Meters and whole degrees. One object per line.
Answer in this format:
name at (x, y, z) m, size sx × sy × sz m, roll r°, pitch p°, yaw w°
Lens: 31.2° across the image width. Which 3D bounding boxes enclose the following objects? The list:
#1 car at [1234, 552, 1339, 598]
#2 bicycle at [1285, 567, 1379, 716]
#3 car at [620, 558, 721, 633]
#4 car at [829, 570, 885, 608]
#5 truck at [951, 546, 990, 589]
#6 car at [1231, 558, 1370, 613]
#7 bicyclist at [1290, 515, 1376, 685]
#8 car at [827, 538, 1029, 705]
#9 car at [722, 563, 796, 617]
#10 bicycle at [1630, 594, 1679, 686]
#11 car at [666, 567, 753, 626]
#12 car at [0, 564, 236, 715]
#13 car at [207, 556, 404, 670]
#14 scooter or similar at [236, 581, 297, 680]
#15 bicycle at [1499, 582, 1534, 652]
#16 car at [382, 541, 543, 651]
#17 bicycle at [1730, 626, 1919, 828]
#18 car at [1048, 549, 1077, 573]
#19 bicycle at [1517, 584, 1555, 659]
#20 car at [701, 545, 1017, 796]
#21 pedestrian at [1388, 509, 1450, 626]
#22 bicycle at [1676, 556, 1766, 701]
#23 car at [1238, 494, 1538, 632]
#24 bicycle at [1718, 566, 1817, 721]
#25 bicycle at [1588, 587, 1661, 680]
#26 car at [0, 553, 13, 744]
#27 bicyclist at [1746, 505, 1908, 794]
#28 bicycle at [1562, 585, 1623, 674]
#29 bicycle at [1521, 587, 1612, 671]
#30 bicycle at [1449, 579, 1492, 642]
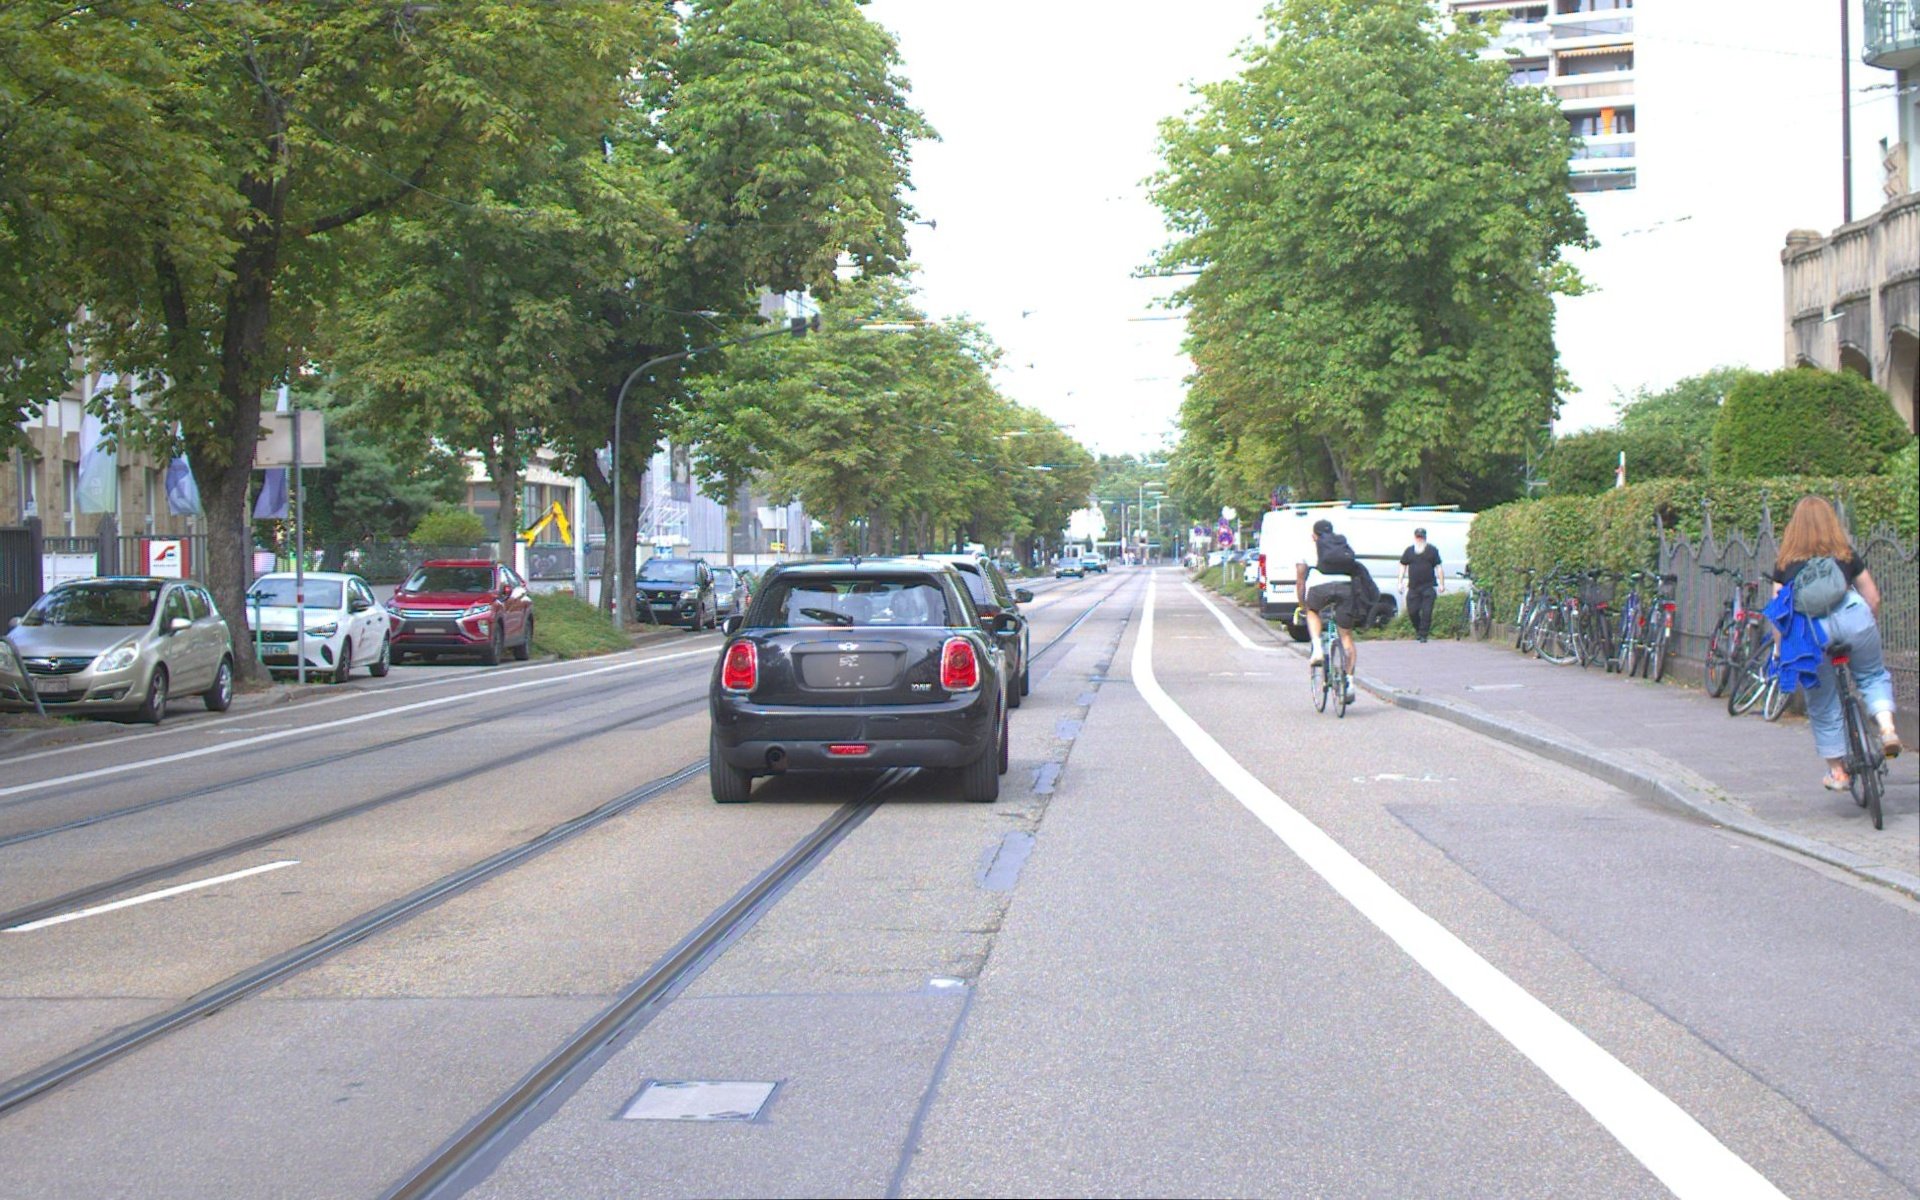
car at (11.323, -0.863, 119.207) m, size 3.436 × 1.567 × 1.560 m, roll -1°, pitch 1°, yaw -35°
bicycle at (3.245, 0.338, 30.106) m, size 0.657 × 1.244 × 2.125 m, roll 0°, pitch 1°, yaw 2°
car at (-6.506, -0.125, 77.613) m, size 1.756 × 1.641 × 4.052 m, roll 0°, pitch 1°, yaw 3°
car at (-3.884, -0.424, 130.248) m, size 1.802 × 1.369 × 4.031 m, roll -2°, pitch 0°, yaw 3°
truck at (0.632, -1.908, 203.768) m, size 2.071 × 2.462 × 4.898 m, roll -2°, pitch 0°, yaw 3°
car at (9.202, -0.398, 92.658) m, size 3.818 × 1.455 × 1.639 m, roll 0°, pitch 0°, yaw -44°
bicyclist at (3.260, -0.007, 30.111) m, size 0.657 × 1.458 × 1.178 m, roll 0°, pitch 1°, yaw 2°
car at (-0.284, 0.173, 33.041) m, size 1.793 × 1.465 × 4.000 m, roll 1°, pitch 1°, yaw 0°
car at (-5.623, -0.294, 96.638) m, size 1.693 × 1.482 × 3.677 m, roll 0°, pitch 1°, yaw 3°
bicycle at (6.604, 0.376, 32.714) m, size 0.278 × 0.849 × 1.198 m, roll -2°, pitch 0°, yaw 4°
car at (-6.127, -0.104, 84.376) m, size 1.693 × 1.422 × 3.868 m, roll 0°, pitch 1°, yaw 3°
car at (-8.808, 0.364, 35.524) m, size 1.600 × 1.463 × 4.079 m, roll 0°, pitch 1°, yaw 3°
car at (-8.788, 0.146, 46.461) m, size 1.721 × 1.419 × 4.023 m, roll 2°, pitch 1°, yaw 2°
scooter or similar at (-8.791, 0.377, 43.565) m, size 0.561 × 1.218 × 1.324 m, roll -1°, pitch 1°, yaw -20°
bicycle at (7.383, 0.223, 45.620) m, size 0.386 × 0.904 × 1.664 m, roll -2°, pitch 0°, yaw 8°
car at (-7.919, -0.082, 55.127) m, size 1.721 × 1.649 × 4.542 m, roll 2°, pitch 1°, yaw 2°
bicycle at (4.594, 0.647, 18.356) m, size 0.688 × 0.959 × 2.036 m, roll -1°, pitch 1°, yaw 6°
car at (7.152, -2.742, 239.496) m, size 1.895 × 1.622 × 4.000 m, roll 0°, pitch 1°, yaw 0°
bicycle at (7.138, 0.261, 42.640) m, size 0.386 × 0.904 × 1.664 m, roll -2°, pitch 0°, yaw 8°
car at (-0.543, 0.379, 21.524) m, size 1.793 × 1.418 × 4.000 m, roll 0°, pitch 1°, yaw 1°
pedestrian at (7.020, -0.500, 52.645) m, size 0.785 × 1.727 × 0.896 m, roll -3°, pitch 0°, yaw 3°
bicycle at (6.297, 0.216, 28.507) m, size 0.391 × 1.138 × 1.920 m, roll -2°, pitch 1°, yaw 3°
car at (7.420, -0.634, 59.357) m, size 4.944 × 2.282 × 2.384 m, roll 0°, pitch 0°, yaw -39°
bicycle at (6.046, 0.308, 25.804) m, size 0.391 × 1.099 × 1.759 m, roll -2°, pitch 1°, yaw 3°
bicycle at (6.668, 0.326, 34.525) m, size 0.486 × 0.904 × 1.665 m, roll -2°, pitch 0°, yaw 4°
car at (-9.326, 0.449, 28.222) m, size 1.710 × 1.668 × 4.357 m, roll 0°, pitch 1°, yaw 3°
bicyclist at (4.567, 0.249, 18.141) m, size 0.647 × 1.465 × 0.800 m, roll -3°, pitch 1°, yaw 6°
bicycle at (6.670, 0.298, 36.314) m, size 0.486 × 0.904 × 1.664 m, roll -2°, pitch 0°, yaw 6°
bicycle at (6.734, 0.320, 38.226) m, size 0.485 × 0.904 × 1.665 m, roll -2°, pitch 0°, yaw -8°
bicycle at (7.550, 0.151, 50.888) m, size 0.386 × 0.904 × 1.842 m, roll -2°, pitch 0°, yaw 1°
